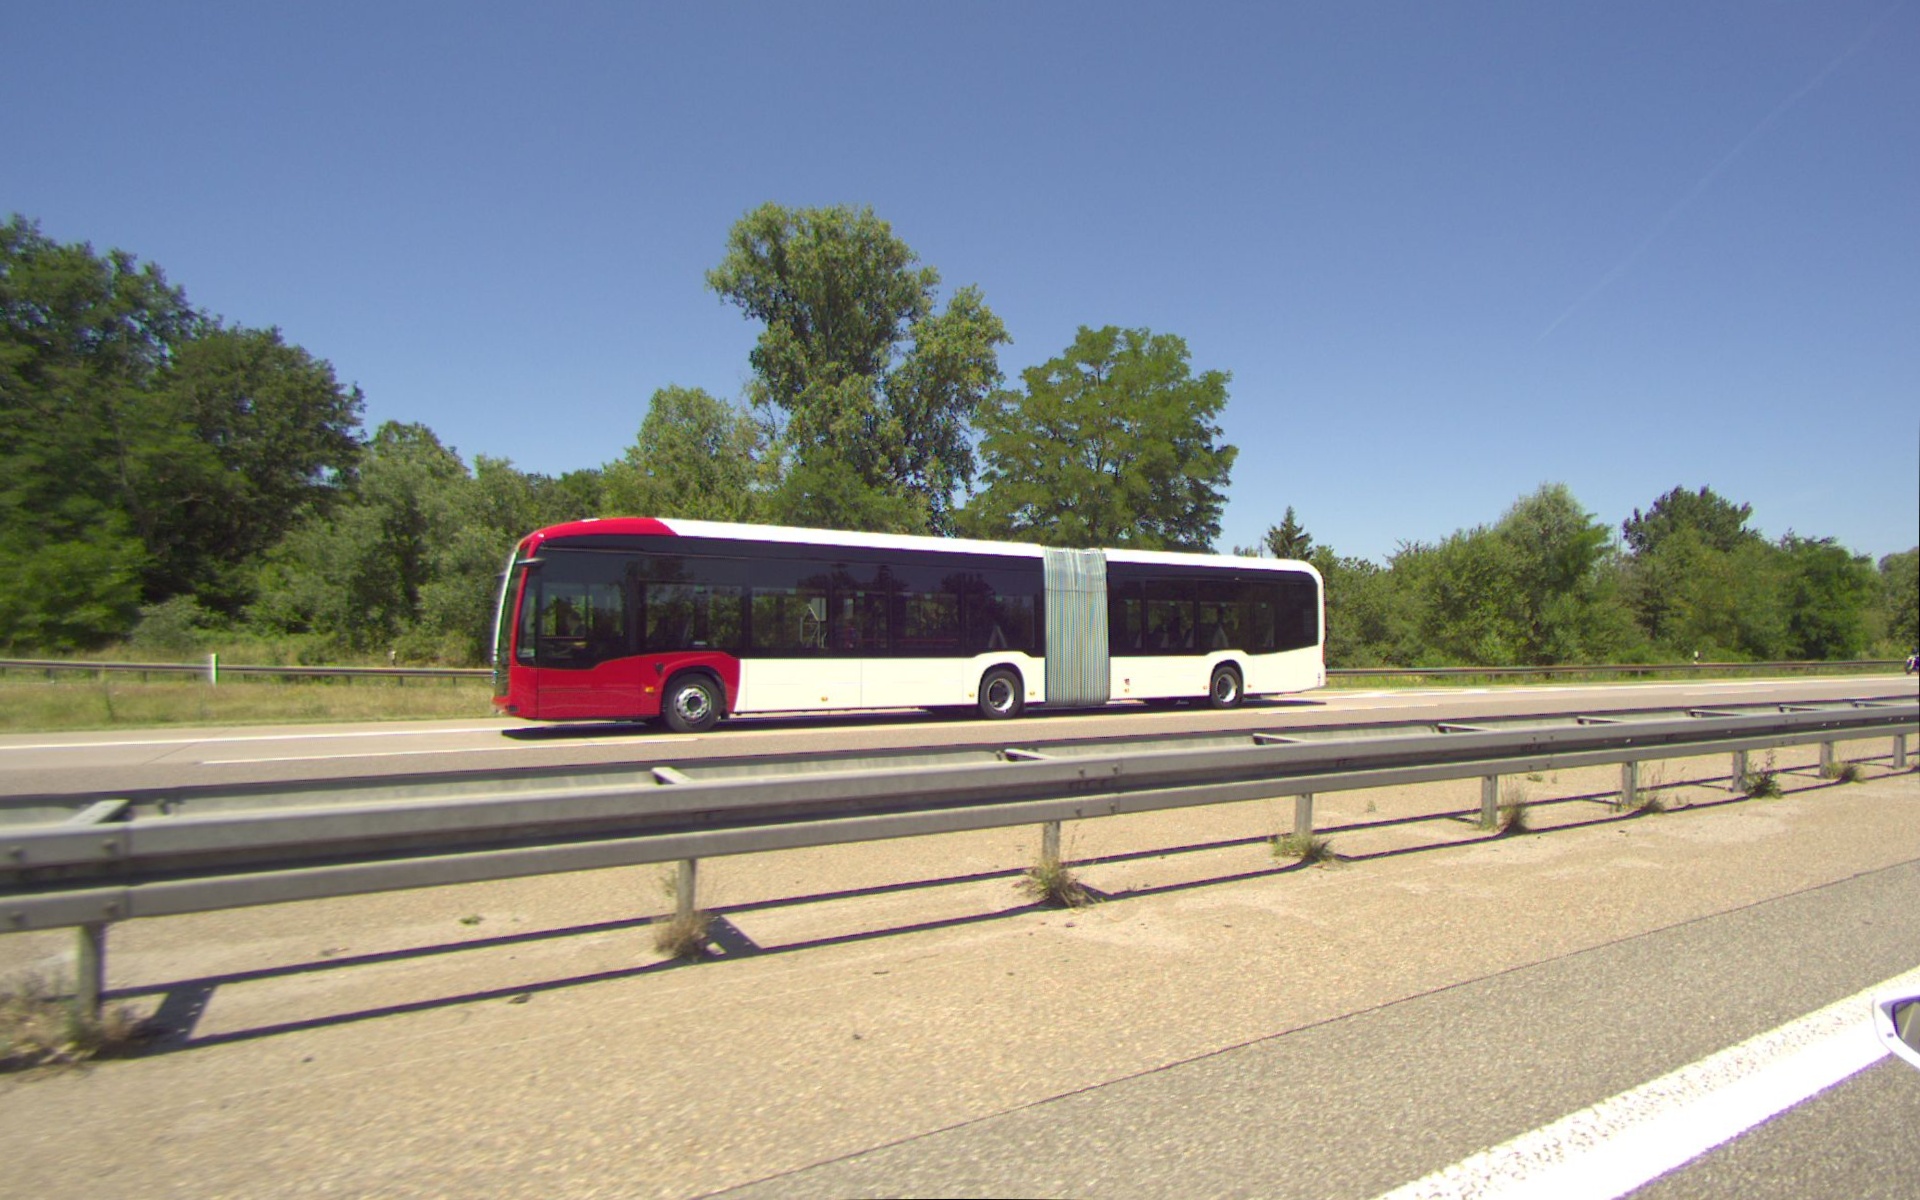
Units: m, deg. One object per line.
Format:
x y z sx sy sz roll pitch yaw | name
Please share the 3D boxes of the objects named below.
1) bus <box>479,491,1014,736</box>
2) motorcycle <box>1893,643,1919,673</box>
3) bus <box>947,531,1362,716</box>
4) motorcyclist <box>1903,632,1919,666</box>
-3.484 0.345 17.745 8.827 3.492 2.751 2 -2 -30 | bus
54.026 3.268 57.004 2.799 1.662 0.613 2 0 -26 | motorcycle
4.695 0.608 22.711 10.031 3.492 2.749 2 -2 -32 | bus
54.158 2.793 57.071 0.612 1.896 0.601 1 0 -25 | motorcyclist
